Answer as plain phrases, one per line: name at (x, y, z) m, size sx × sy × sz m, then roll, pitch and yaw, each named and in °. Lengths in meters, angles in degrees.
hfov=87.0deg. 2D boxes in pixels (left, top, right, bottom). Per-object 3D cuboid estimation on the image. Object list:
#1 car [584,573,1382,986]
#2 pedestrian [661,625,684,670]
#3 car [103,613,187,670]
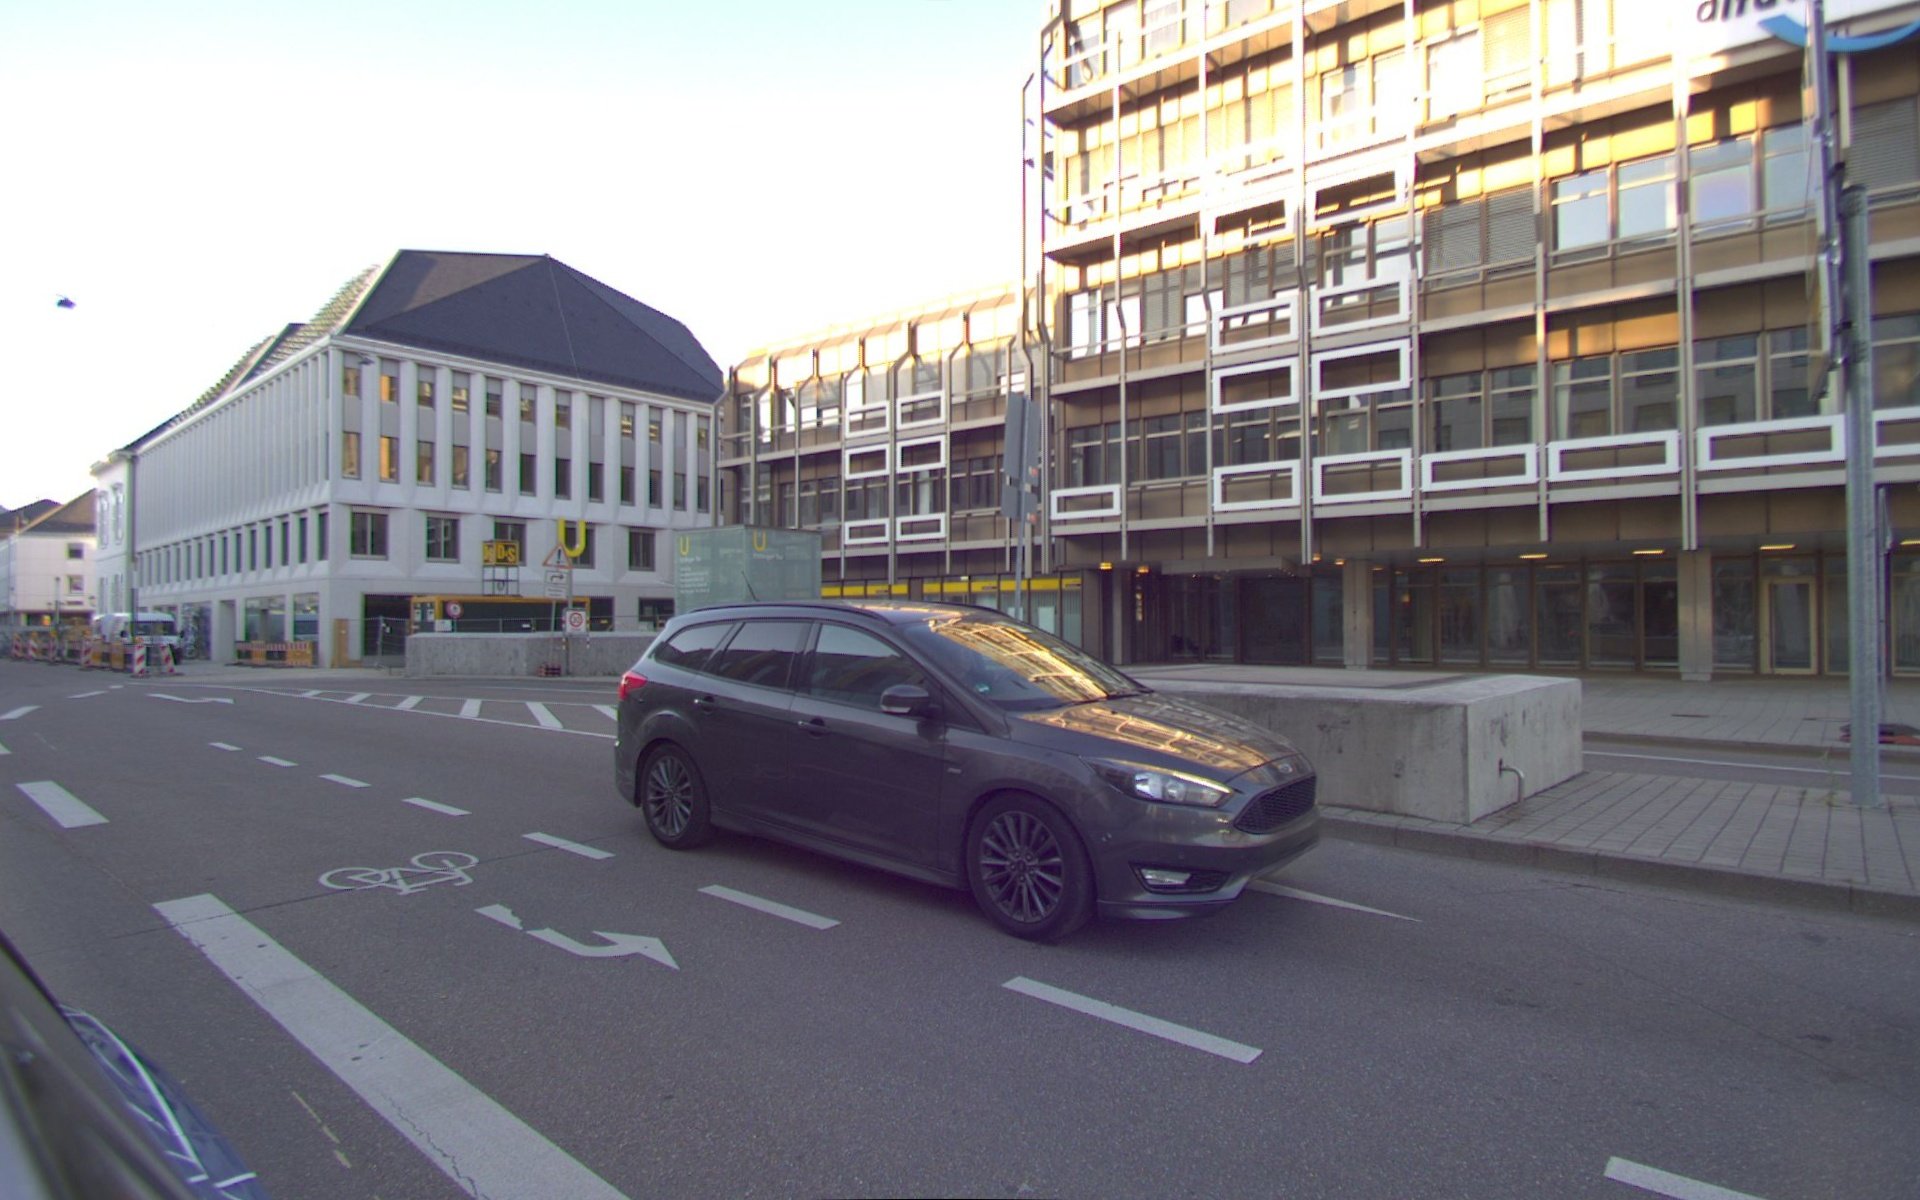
car at (-0.170, 0.689, 5.710) m, size 4.377 × 1.473 × 1.740 m, roll -2°, pitch -1°, yaw 41°
pedestrian at (-9.756, 1.621, 34.363) m, size 0.555 × 1.508 × 0.525 m, roll -2°, pitch -3°, yaw 41°
car at (-38.838, 1.957, 48.165) m, size 6.047 × 2.575 × 2.114 m, roll -2°, pitch -3°, yaw 41°
